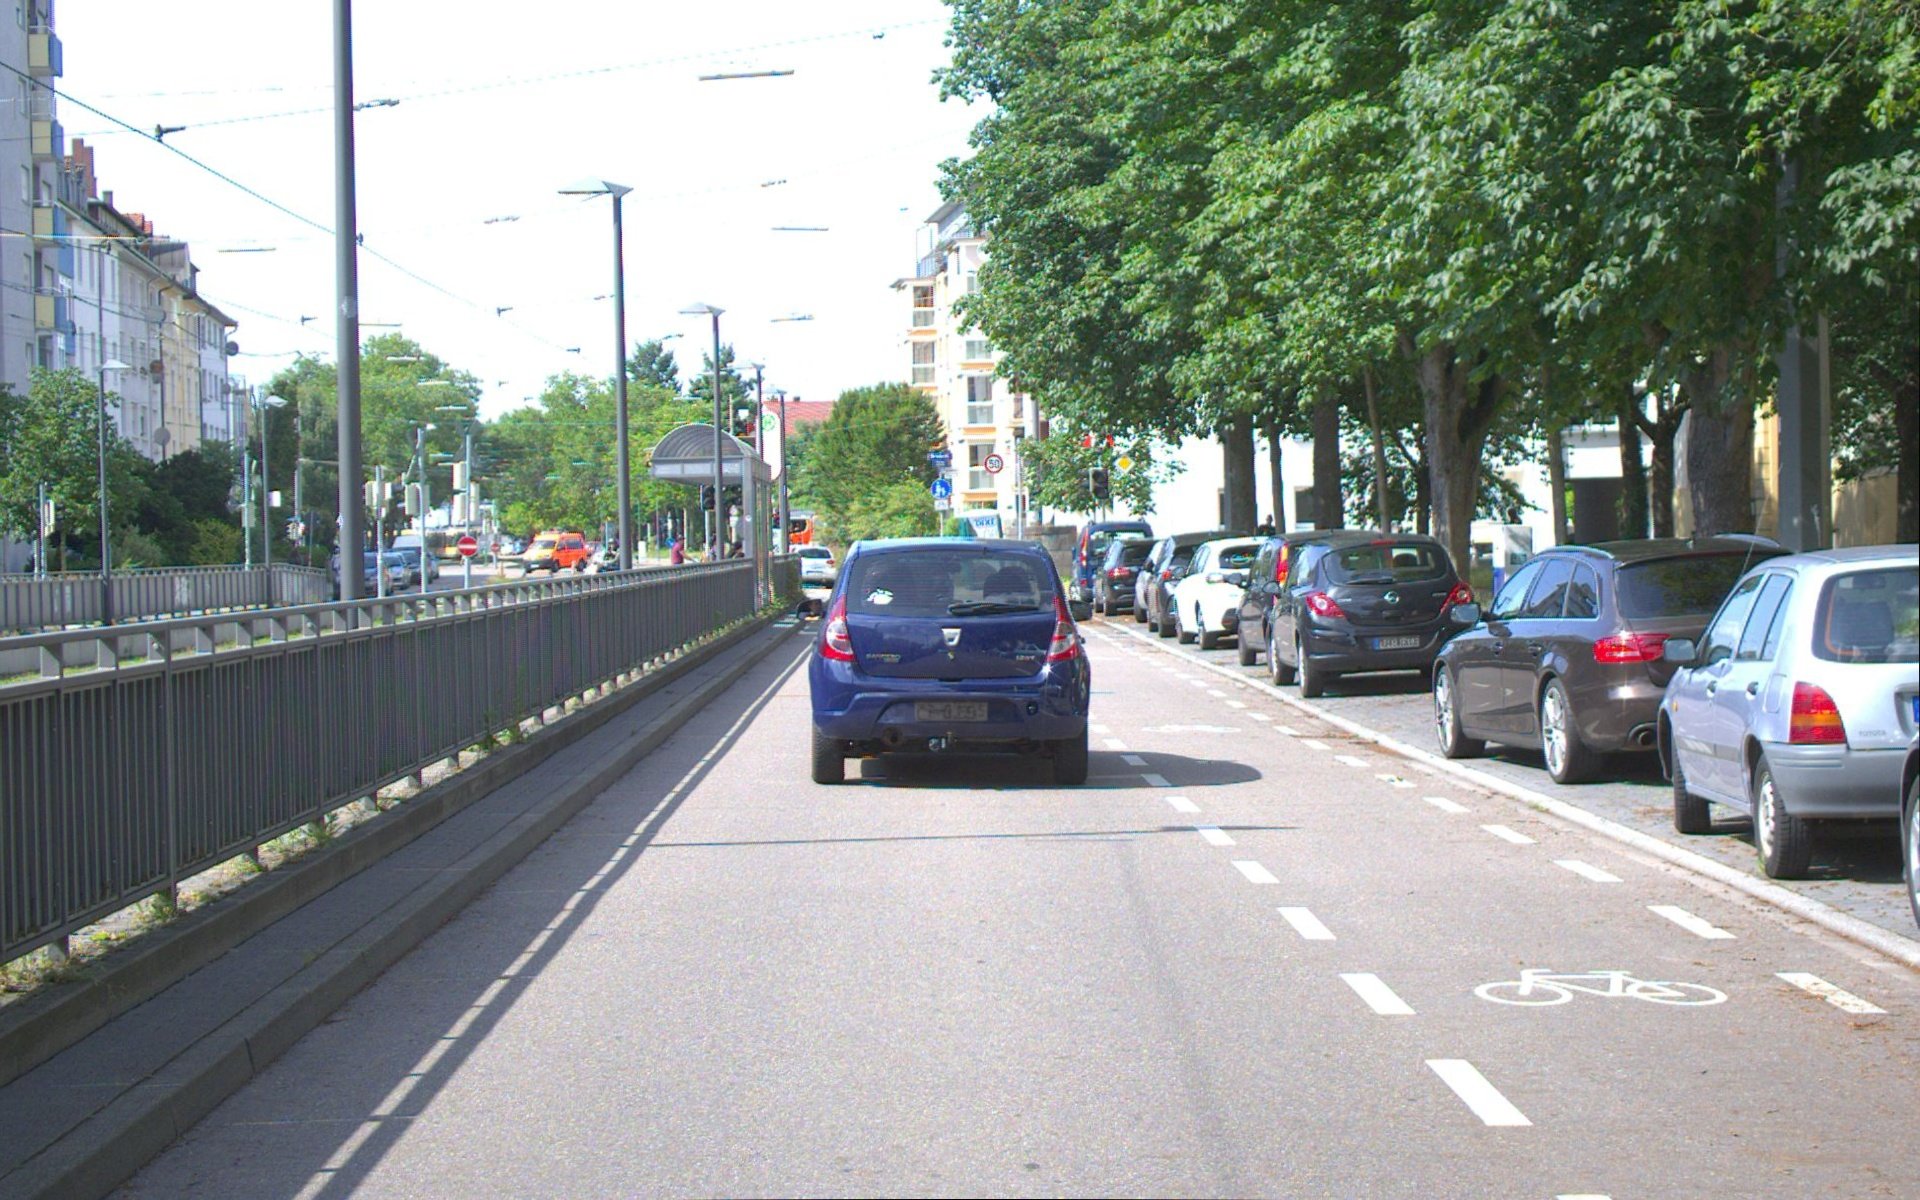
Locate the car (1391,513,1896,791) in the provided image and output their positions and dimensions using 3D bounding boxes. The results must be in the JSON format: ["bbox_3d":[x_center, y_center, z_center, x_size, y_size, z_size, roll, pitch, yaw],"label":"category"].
[{"bbox_3d":[4.171,0.289,21.850,1.831,1.462,4.832,-3,0,-4],"label":"car"}]

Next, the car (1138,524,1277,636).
[{"bbox_3d":[3.769,-0.348,52.977,1.725,1.578,4.677,-2,1,0],"label":"car"}]

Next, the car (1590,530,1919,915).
[{"bbox_3d":[4.094,0.458,15.906,1.636,1.426,4.015,-4,1,2],"label":"car"}]

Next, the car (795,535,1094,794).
[{"bbox_3d":[-0.139,0.343,22.190,1.744,1.501,4.000,0,1,-1],"label":"car"}]

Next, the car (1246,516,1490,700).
[{"bbox_3d":[3.897,0.036,33.444,1.690,1.556,4.308,-4,1,-1],"label":"car"}]

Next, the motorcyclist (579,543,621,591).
[{"bbox_3d":[-10.169,-0.940,97.195,0.983,1.334,0.942,-2,1,-16],"label":"motorcyclist"}]

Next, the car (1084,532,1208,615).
[{"bbox_3d":[3.611,-0.547,67.390,1.917,1.437,4.797,-4,1,-2],"label":"car"}]

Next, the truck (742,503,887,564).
[{"bbox_3d":[-8.890,-4.054,209.463,8.353,3.175,2.605,-4,1,-11],"label":"truck"}]

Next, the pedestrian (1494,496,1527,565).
[{"bbox_3d":[12.942,-1.636,80.786,0.631,1.590,0.540,-2,0,-3],"label":"pedestrian"}]

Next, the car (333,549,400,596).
[{"bbox_3d":[-21.077,-0.976,122.169,1.993,1.639,4.001,0,0,-5],"label":"car"}]

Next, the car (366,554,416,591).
[{"bbox_3d":[-22.834,-1.100,138.091,1.768,1.437,4.001,0,0,-6],"label":"car"}]

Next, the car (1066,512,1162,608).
[{"bbox_3d":[3.230,-0.879,72.740,1.823,1.889,4.184,-3,2,1],"label":"car"}]

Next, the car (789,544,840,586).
[{"bbox_3d":[-5.206,-1.237,122.562,1.622,1.460,3.511,0,0,-5],"label":"car"}]

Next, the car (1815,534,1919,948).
[{"bbox_3d":[4.287,0.484,10.697,1.829,1.436,5.050,-4,1,-1],"label":"car"}]

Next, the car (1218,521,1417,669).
[{"bbox_3d":[3.965,-0.058,38.641,1.555,1.456,3.559,-5,0,-3],"label":"car"}]

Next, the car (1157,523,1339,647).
[{"bbox_3d":[3.913,-0.229,47.379,1.835,1.518,4.254,-3,1,-3],"label":"car"}]

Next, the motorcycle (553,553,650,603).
[{"bbox_3d":[-10.131,-0.630,97.178,2.508,1.334,1.018,-2,1,-19],"label":"motorcycle"}]

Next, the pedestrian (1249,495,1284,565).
[{"bbox_3d":[7.574,-1.728,84.942,0.744,1.690,0.767,-2,1,0],"label":"pedestrian"}]
